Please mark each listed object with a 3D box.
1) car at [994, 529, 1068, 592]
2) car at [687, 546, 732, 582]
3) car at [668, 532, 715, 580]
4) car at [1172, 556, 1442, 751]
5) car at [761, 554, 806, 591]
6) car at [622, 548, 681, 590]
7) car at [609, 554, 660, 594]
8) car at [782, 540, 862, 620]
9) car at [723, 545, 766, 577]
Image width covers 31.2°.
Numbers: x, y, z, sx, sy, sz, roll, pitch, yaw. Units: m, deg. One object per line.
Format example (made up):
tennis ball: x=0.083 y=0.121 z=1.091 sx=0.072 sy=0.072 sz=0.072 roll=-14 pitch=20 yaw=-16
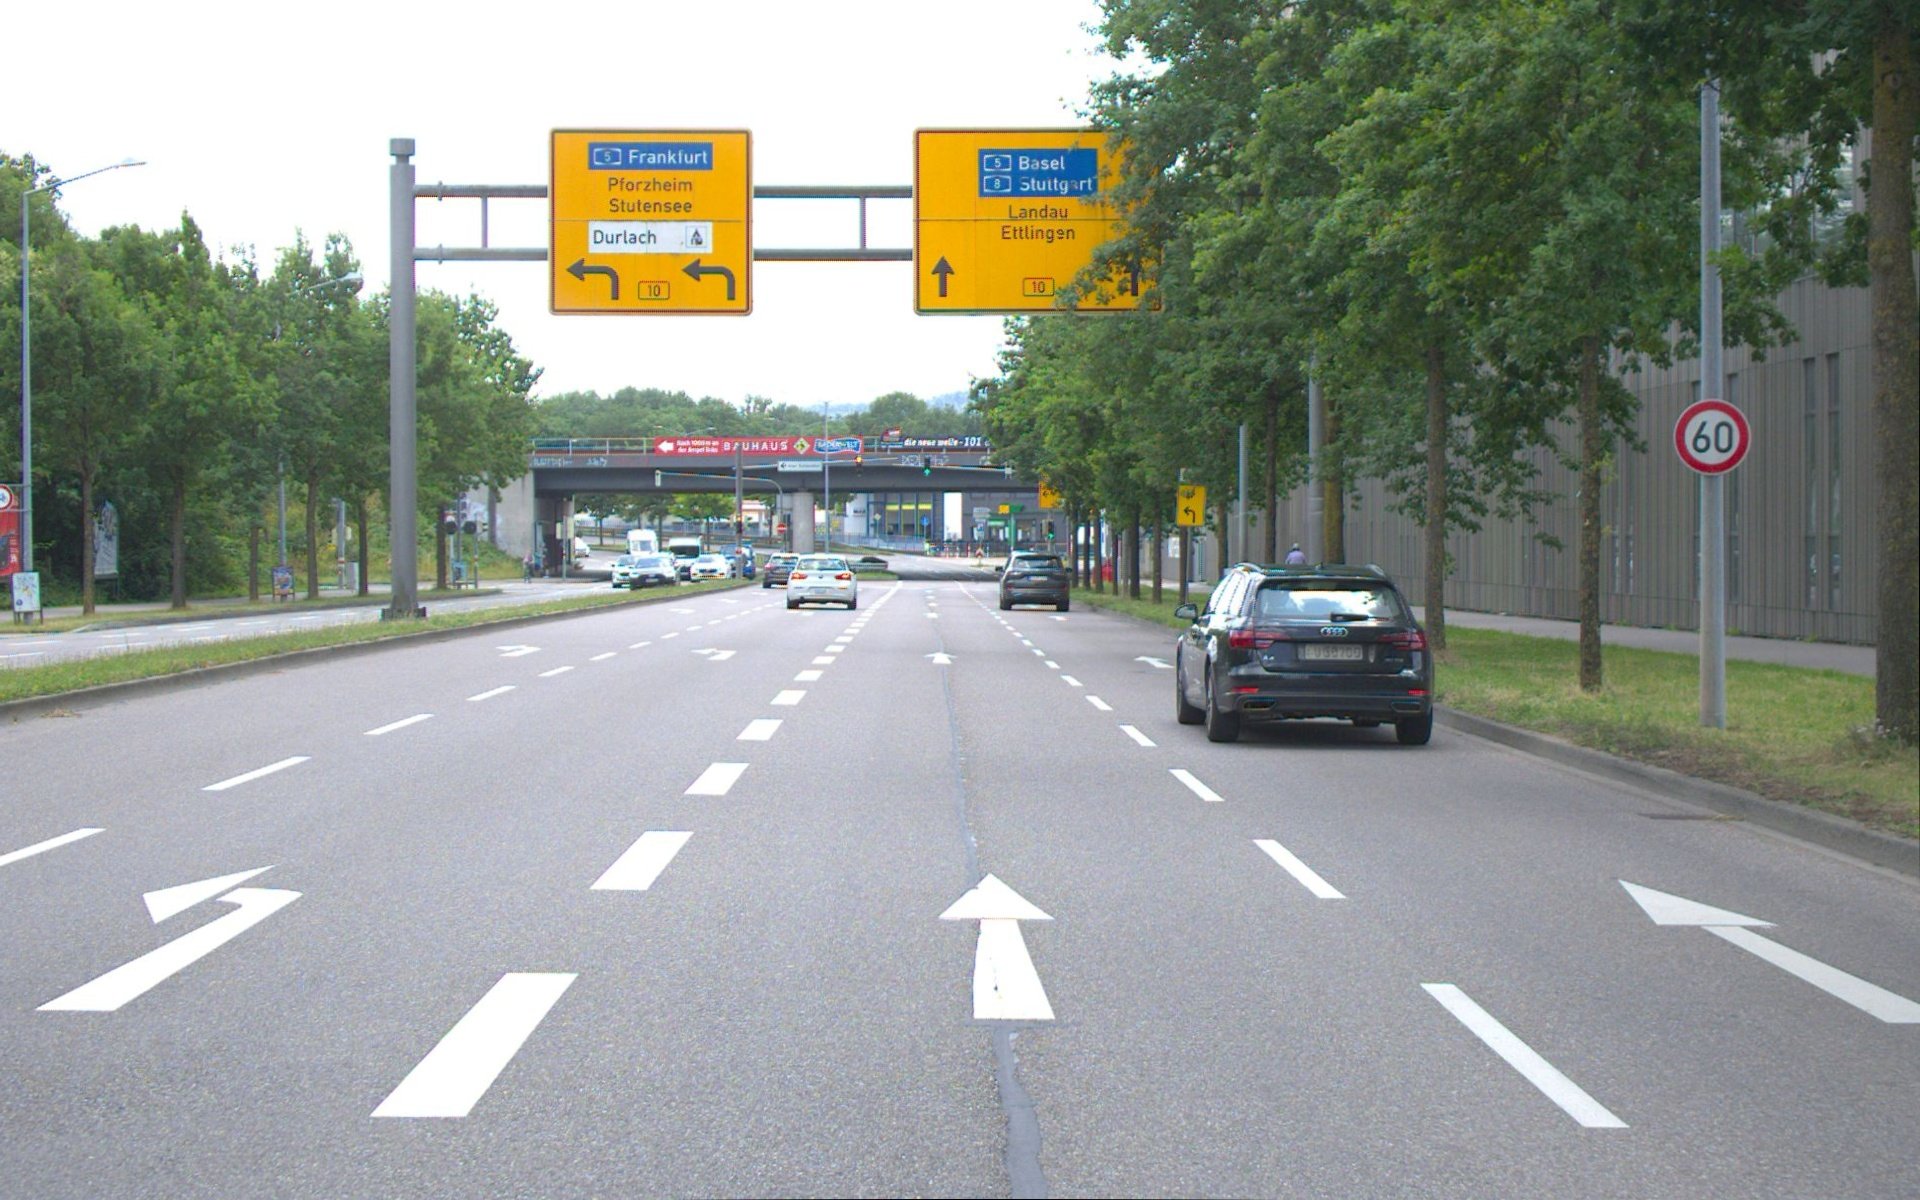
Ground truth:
car: x=1.980 y=-1.116 z=95.267 sx=1.993 sy=1.620 sz=4.310 roll=-1 pitch=2 yaw=1
car: x=-12.842 y=-1.843 z=176.215 sx=1.993 sy=1.711 sz=4.000 roll=2 pitch=0 yaw=-1
car: x=-15.452 y=-2.524 z=197.898 sx=1.994 sy=2.631 sz=5.236 roll=2 pitch=0 yaw=2
car: x=2.801 y=0.388 z=28.504 sx=1.684 sy=1.458 sz=4.000 roll=1 pitch=1 yaw=-2
car: x=-7.215 y=-1.136 z=140.699 sx=1.774 sy=1.458 sz=4.001 roll=1 pitch=1 yaw=-3
car: x=-12.481 y=-1.271 z=139.267 sx=1.993 sy=1.612 sz=4.000 roll=0 pitch=2 yaw=1
car: x=-15.050 y=-1.187 z=159.146 sx=1.993 sy=1.777 sz=4.000 roll=2 pitch=0 yaw=-1
car: x=-3.643 y=-0.546 z=90.150 sx=1.993 sy=2.007 sz=4.001 roll=1 pitch=1 yaw=-3
car: x=-12.044 y=-2.170 z=192.366 sx=1.994 sy=1.711 sz=4.000 roll=2 pitch=0 yaw=2
